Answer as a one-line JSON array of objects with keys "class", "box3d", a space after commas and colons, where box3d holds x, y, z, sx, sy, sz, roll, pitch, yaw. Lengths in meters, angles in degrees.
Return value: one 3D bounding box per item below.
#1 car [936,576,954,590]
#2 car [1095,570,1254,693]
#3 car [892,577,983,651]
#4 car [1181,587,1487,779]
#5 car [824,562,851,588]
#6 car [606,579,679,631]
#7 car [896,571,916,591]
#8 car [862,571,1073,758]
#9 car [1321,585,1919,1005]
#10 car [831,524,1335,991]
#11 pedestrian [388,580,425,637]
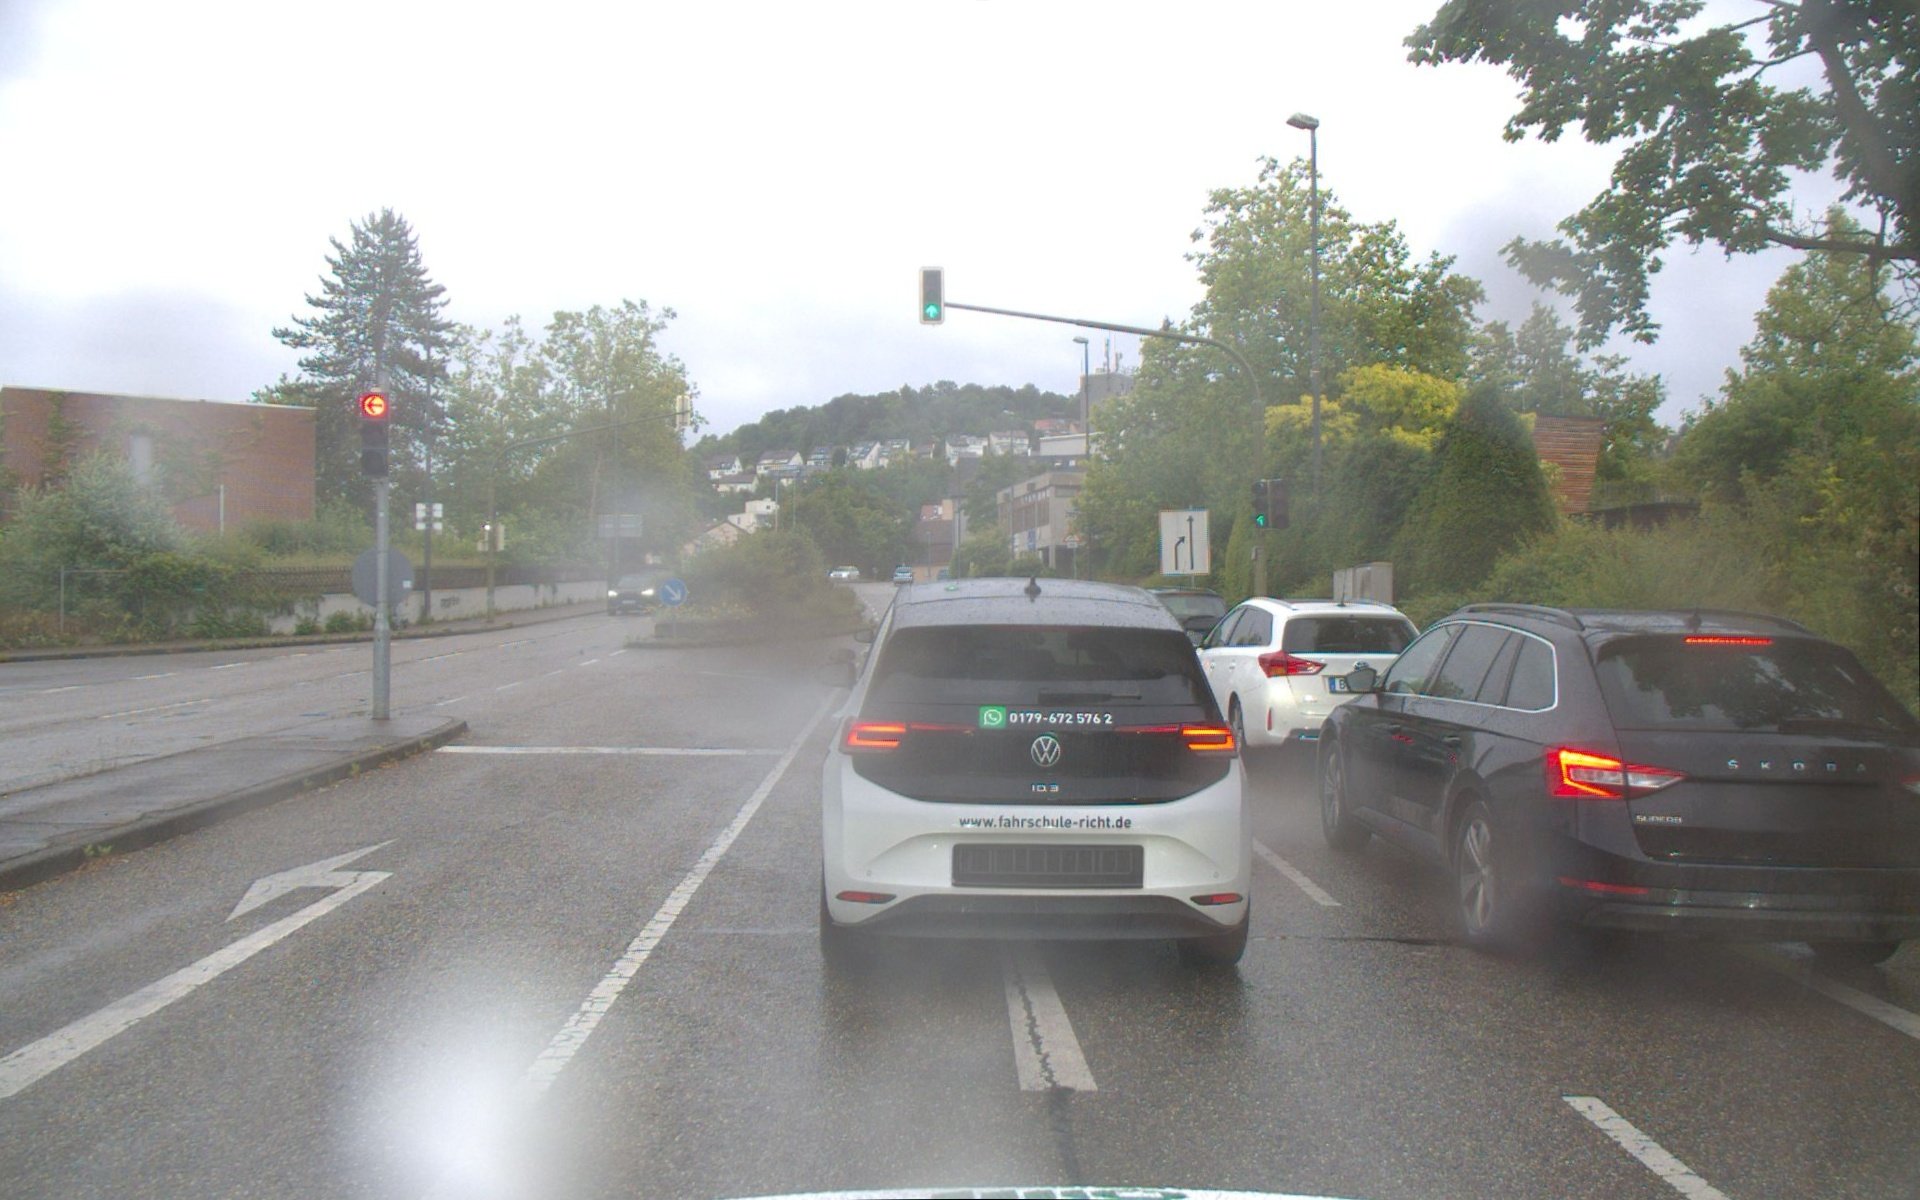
[{"class": "car", "box3d": [-1.540, -1.729, 169.245, 1.726, 1.443, 3.747, -1, 1, -3]}, {"class": "car", "box3d": [3.042, 0.430, 24.195, 1.739, 1.609, 3.999, 1, 0, -1]}, {"class": "car", "box3d": [-0.499, 0.262, 35.081, 1.800, 1.424, 3.830, 1, 1, -1]}, {"class": "car", "box3d": [3.286, 0.653, 15.365, 1.800, 1.492, 4.116, 1, 1, -1]}, {"class": "car", "box3d": [-10.383, -2.076, 140.178, 1.953, 2.049, 3.999, 1, -1, -1]}, {"class": "car", "box3d": [-12.026, 0.178, 62.908, 1.953, 1.836, 3.999, -3, 0, -1]}, {"class": "car", "box3d": [-4.354, -1.518, 133.356, 1.549, 1.492, 3.998, -1, 0, -2]}, {"class": "car", "box3d": [0.019, 0.542, 16.461, 1.800, 1.582, 4.174, 1, 1, -1]}, {"class": "car", "box3d": [3.156, 0.698, 8.198, 1.800, 1.492, 4.350, 1, 1, 1]}, {"class": "car", "box3d": [0.396, 0.552, 8.320, 1.800, 1.657, 4.614, 1, 1, -1]}, {"class": "pedestrian", "box3d": [-15.844, 0.233, 47.378, 0.744, 1.595, 0.825, -2, 0, -2]}]
